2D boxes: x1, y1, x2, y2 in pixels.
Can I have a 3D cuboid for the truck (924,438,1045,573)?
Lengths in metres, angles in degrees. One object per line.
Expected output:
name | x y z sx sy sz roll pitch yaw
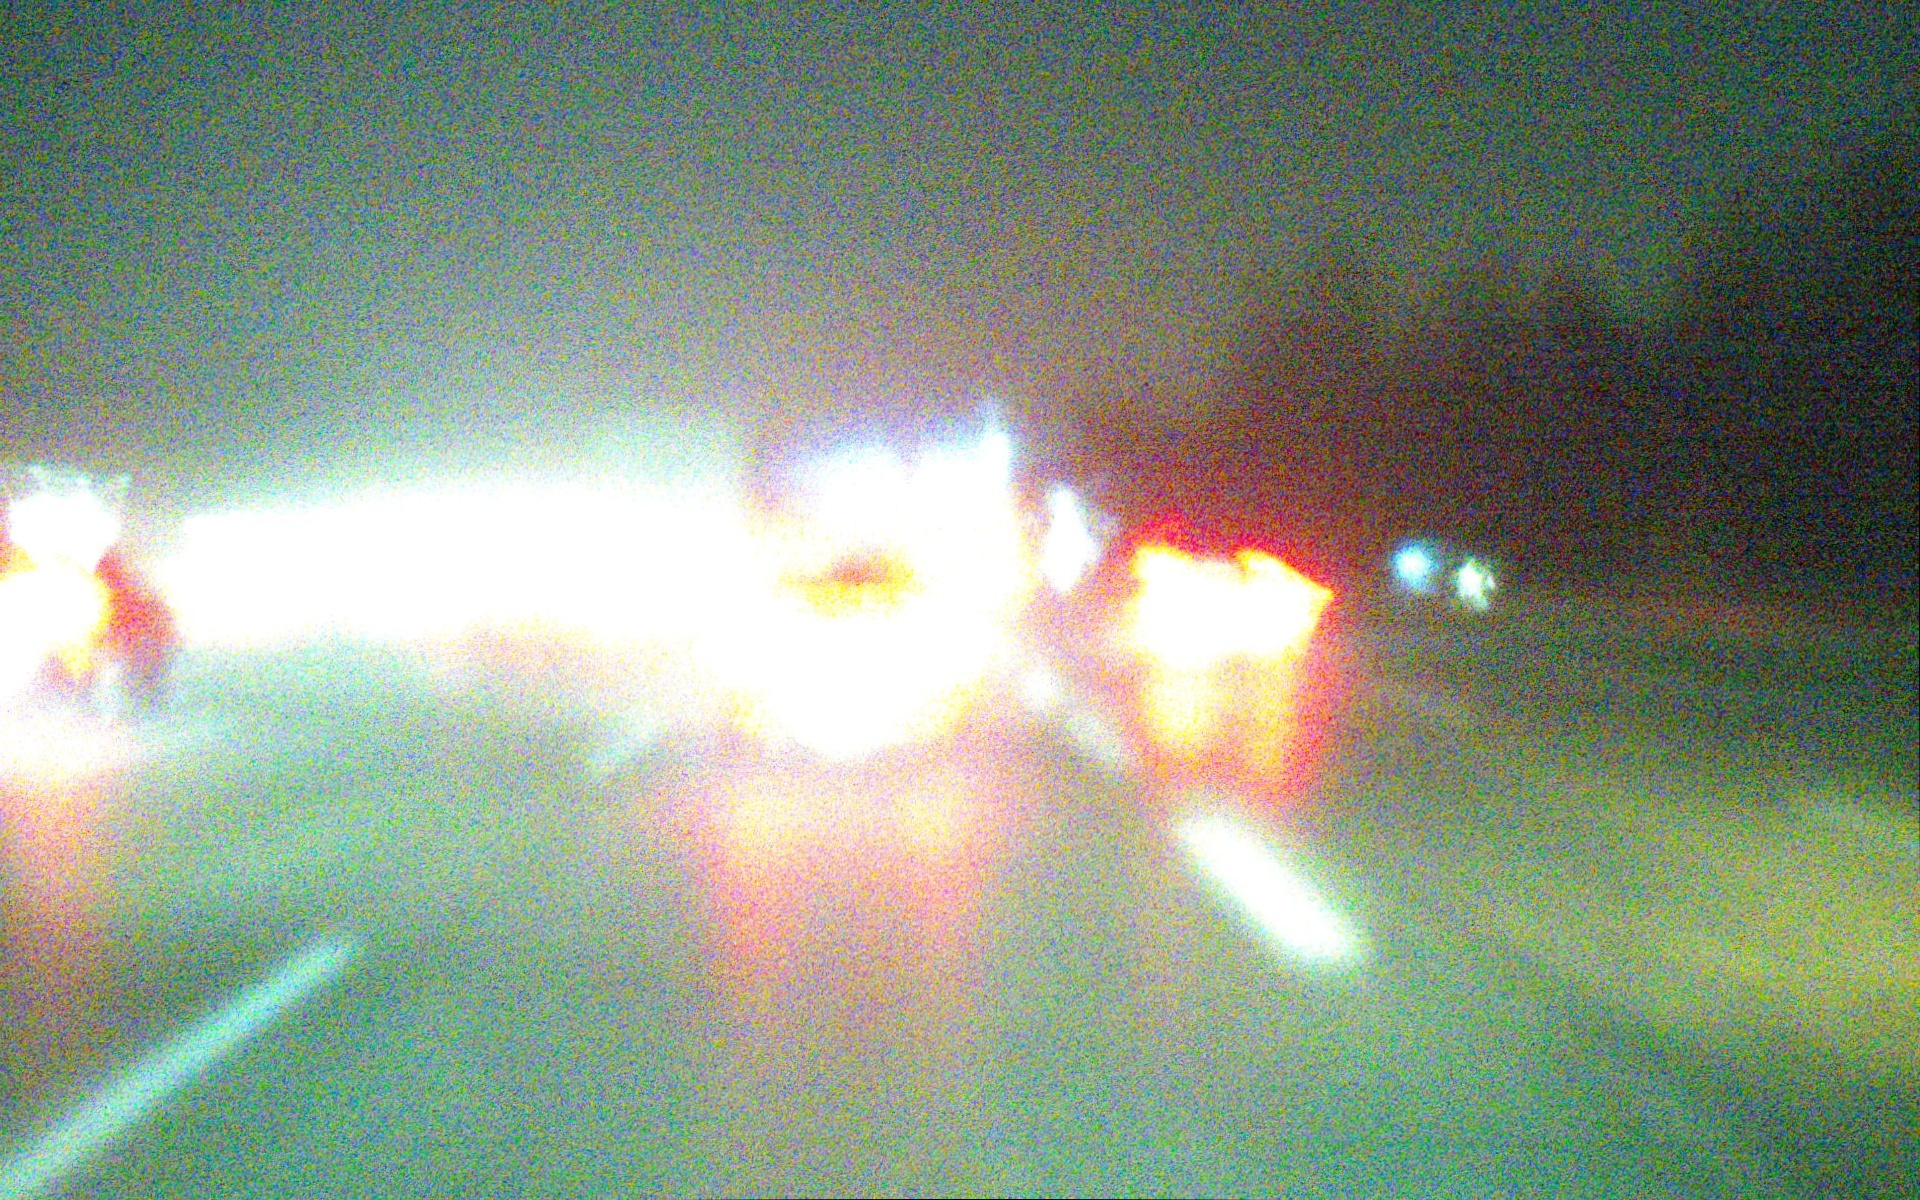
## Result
truck | 0.922 -3.730 139.262 4.161 5.197 9.955 1 0 -4

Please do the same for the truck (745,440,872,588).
truck | -5.776 -3.239 133.416 4.254 5.425 10.884 1 0 1

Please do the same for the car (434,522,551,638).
car | -9.598 -0.422 70.836 2.263 2.265 5.387 1 0 -7

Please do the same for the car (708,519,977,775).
car | -0.782 0.268 24.696 1.765 1.683 4.000 0 1 0

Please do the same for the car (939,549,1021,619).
car | 0.482 -0.413 87.713 1.993 1.698 4.458 1 0 -1

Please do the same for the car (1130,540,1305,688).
car | 3.203 0.153 43.408 1.878 1.756 4.000 1 0 0

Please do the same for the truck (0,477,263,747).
truck | -8.129 0.068 30.908 2.857 2.193 5.859 1 0 -4

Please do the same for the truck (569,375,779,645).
truck | -5.479 -1.618 65.663 3.655 4.721 9.854 1 0 -5
